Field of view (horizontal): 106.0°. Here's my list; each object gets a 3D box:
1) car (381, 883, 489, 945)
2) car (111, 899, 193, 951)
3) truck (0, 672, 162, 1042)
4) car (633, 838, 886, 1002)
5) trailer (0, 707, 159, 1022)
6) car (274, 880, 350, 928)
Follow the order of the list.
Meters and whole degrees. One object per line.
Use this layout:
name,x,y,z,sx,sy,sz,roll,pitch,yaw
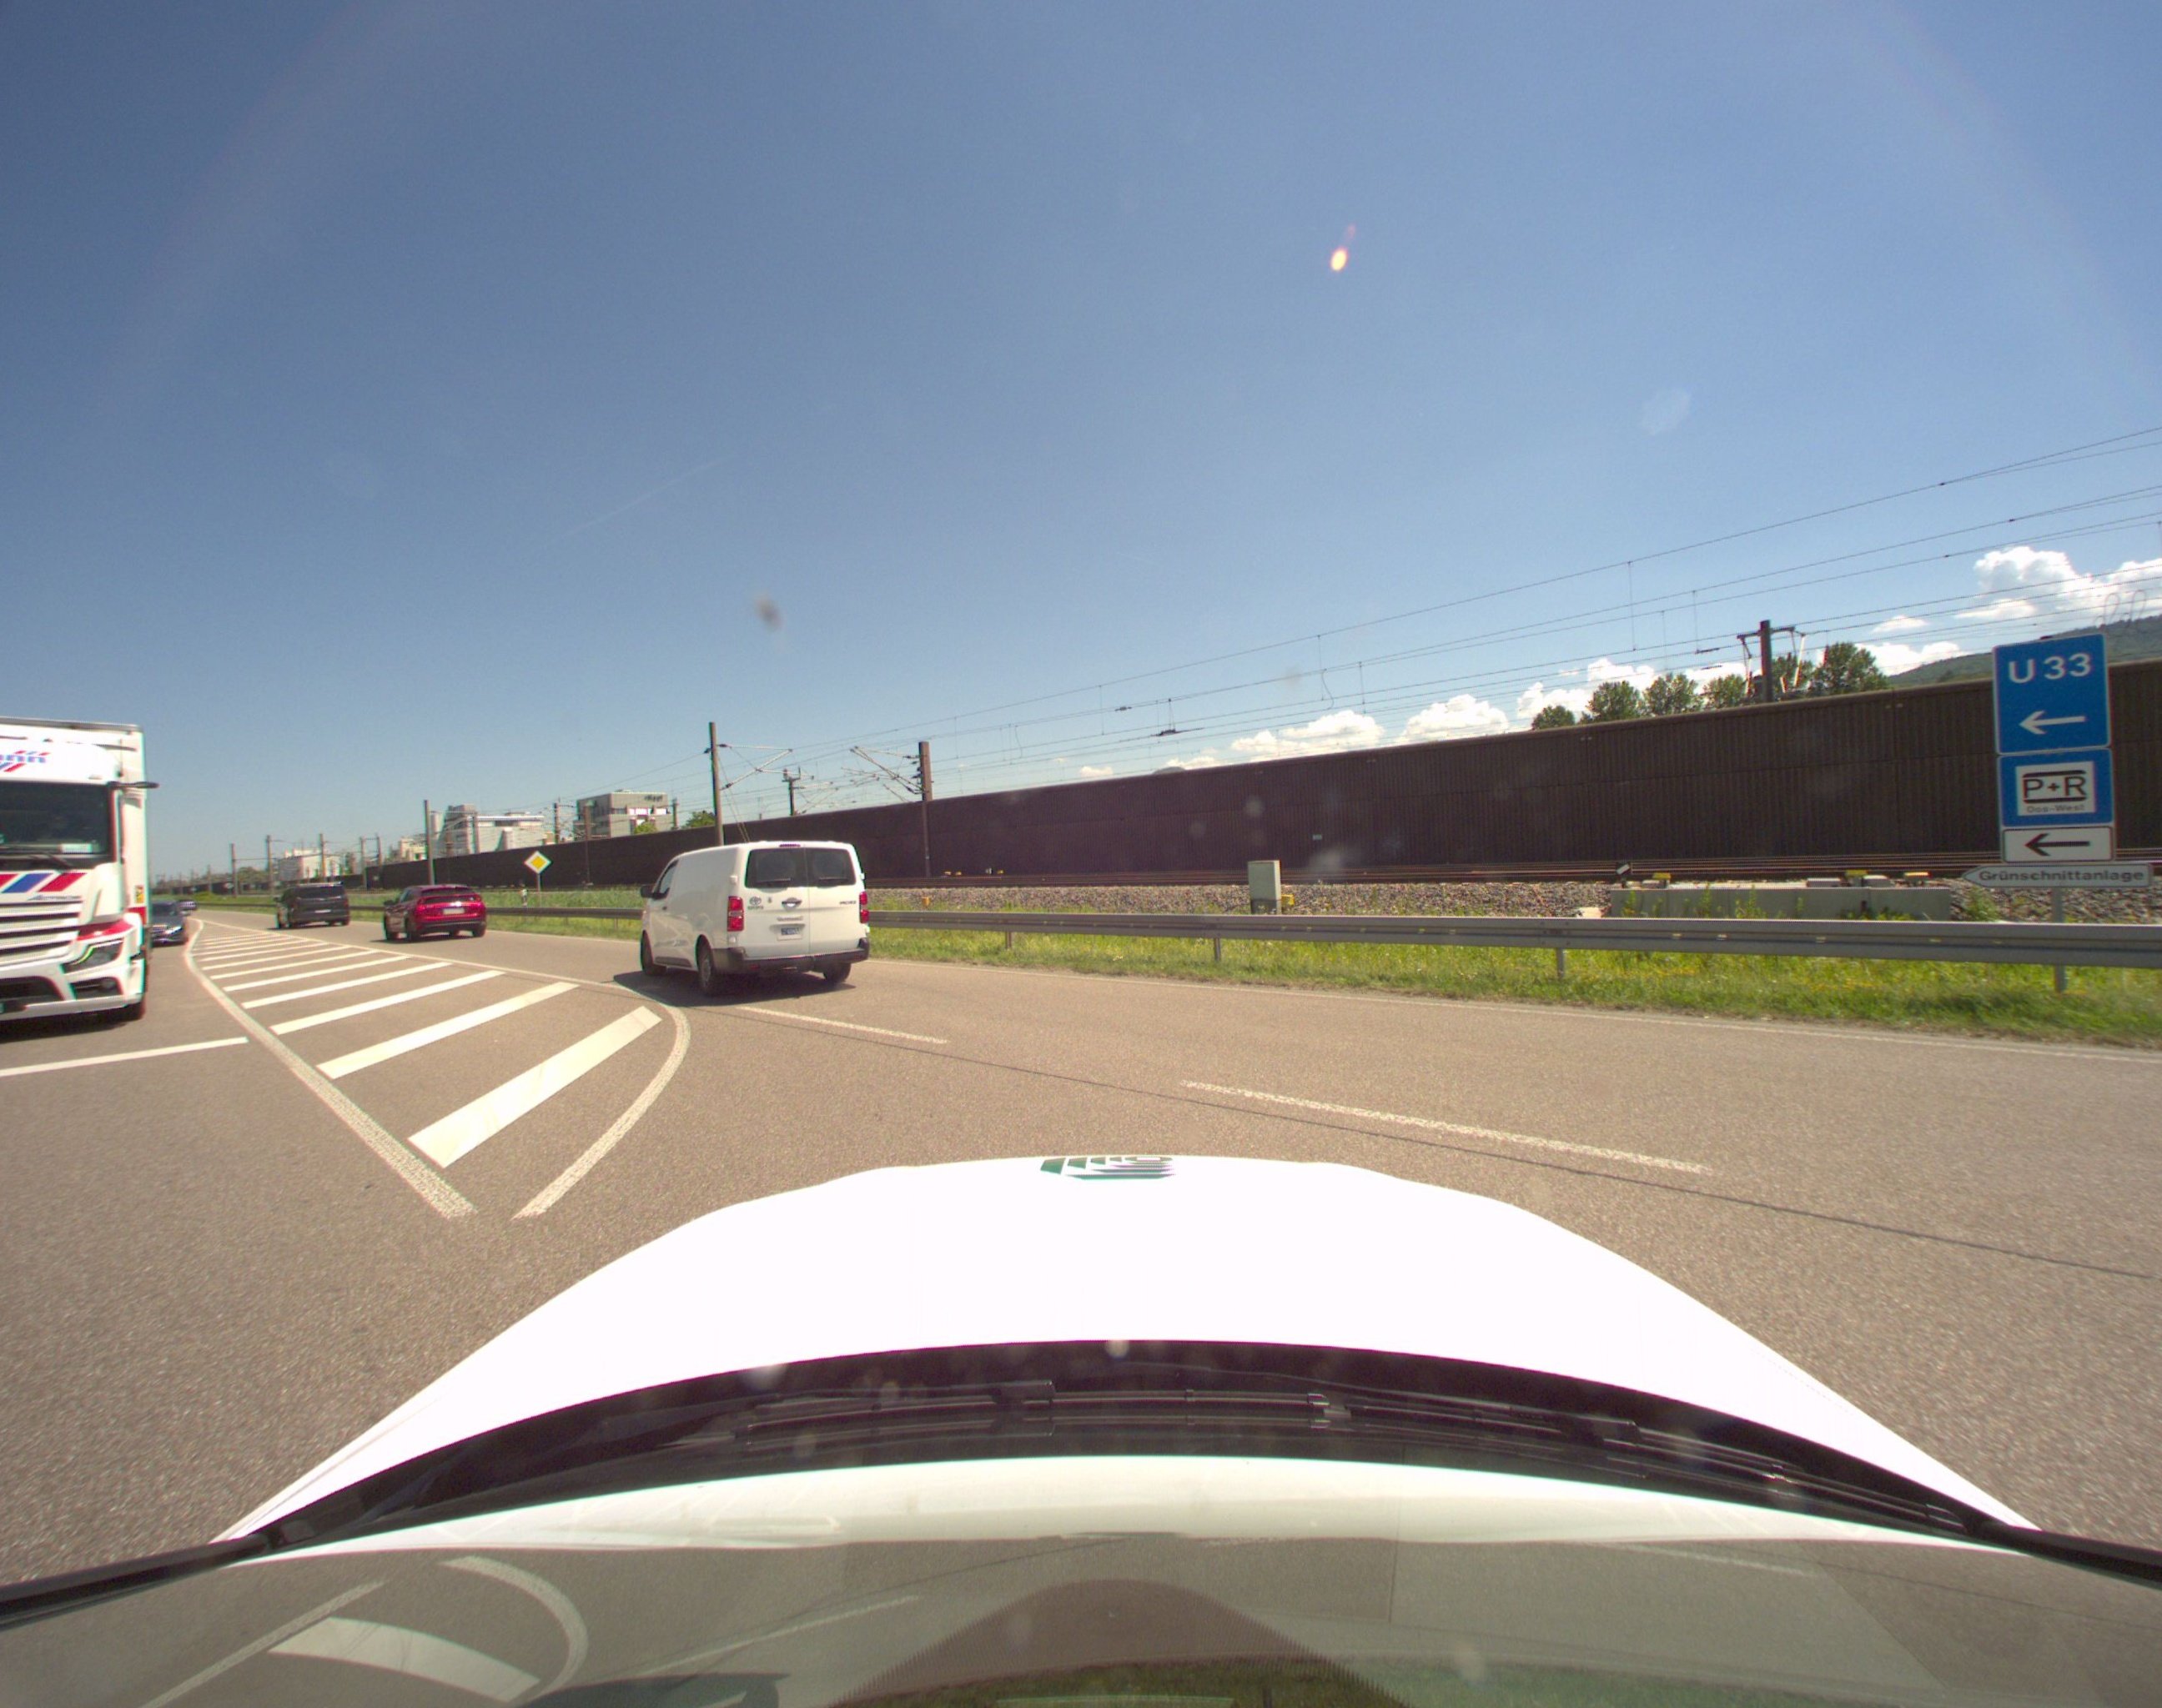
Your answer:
car,-19.836,1.794,24.945,4.088,1.649,1.924,-3,-1,42
car,-32.458,2.423,28.548,4.329,1.537,1.639,-3,1,44
truck,-14.102,0.144,10.603,5.750,4.045,2.715,-3,-1,41
car,-4.856,0.850,11.813,1.962,1.882,4.823,-1,-2,-40
trailer,-19.173,0.412,14.984,13.942,4.045,2.715,-3,-1,41
car,-36.034,2.314,38.111,4.721,2.022,2.027,-3,-1,40
